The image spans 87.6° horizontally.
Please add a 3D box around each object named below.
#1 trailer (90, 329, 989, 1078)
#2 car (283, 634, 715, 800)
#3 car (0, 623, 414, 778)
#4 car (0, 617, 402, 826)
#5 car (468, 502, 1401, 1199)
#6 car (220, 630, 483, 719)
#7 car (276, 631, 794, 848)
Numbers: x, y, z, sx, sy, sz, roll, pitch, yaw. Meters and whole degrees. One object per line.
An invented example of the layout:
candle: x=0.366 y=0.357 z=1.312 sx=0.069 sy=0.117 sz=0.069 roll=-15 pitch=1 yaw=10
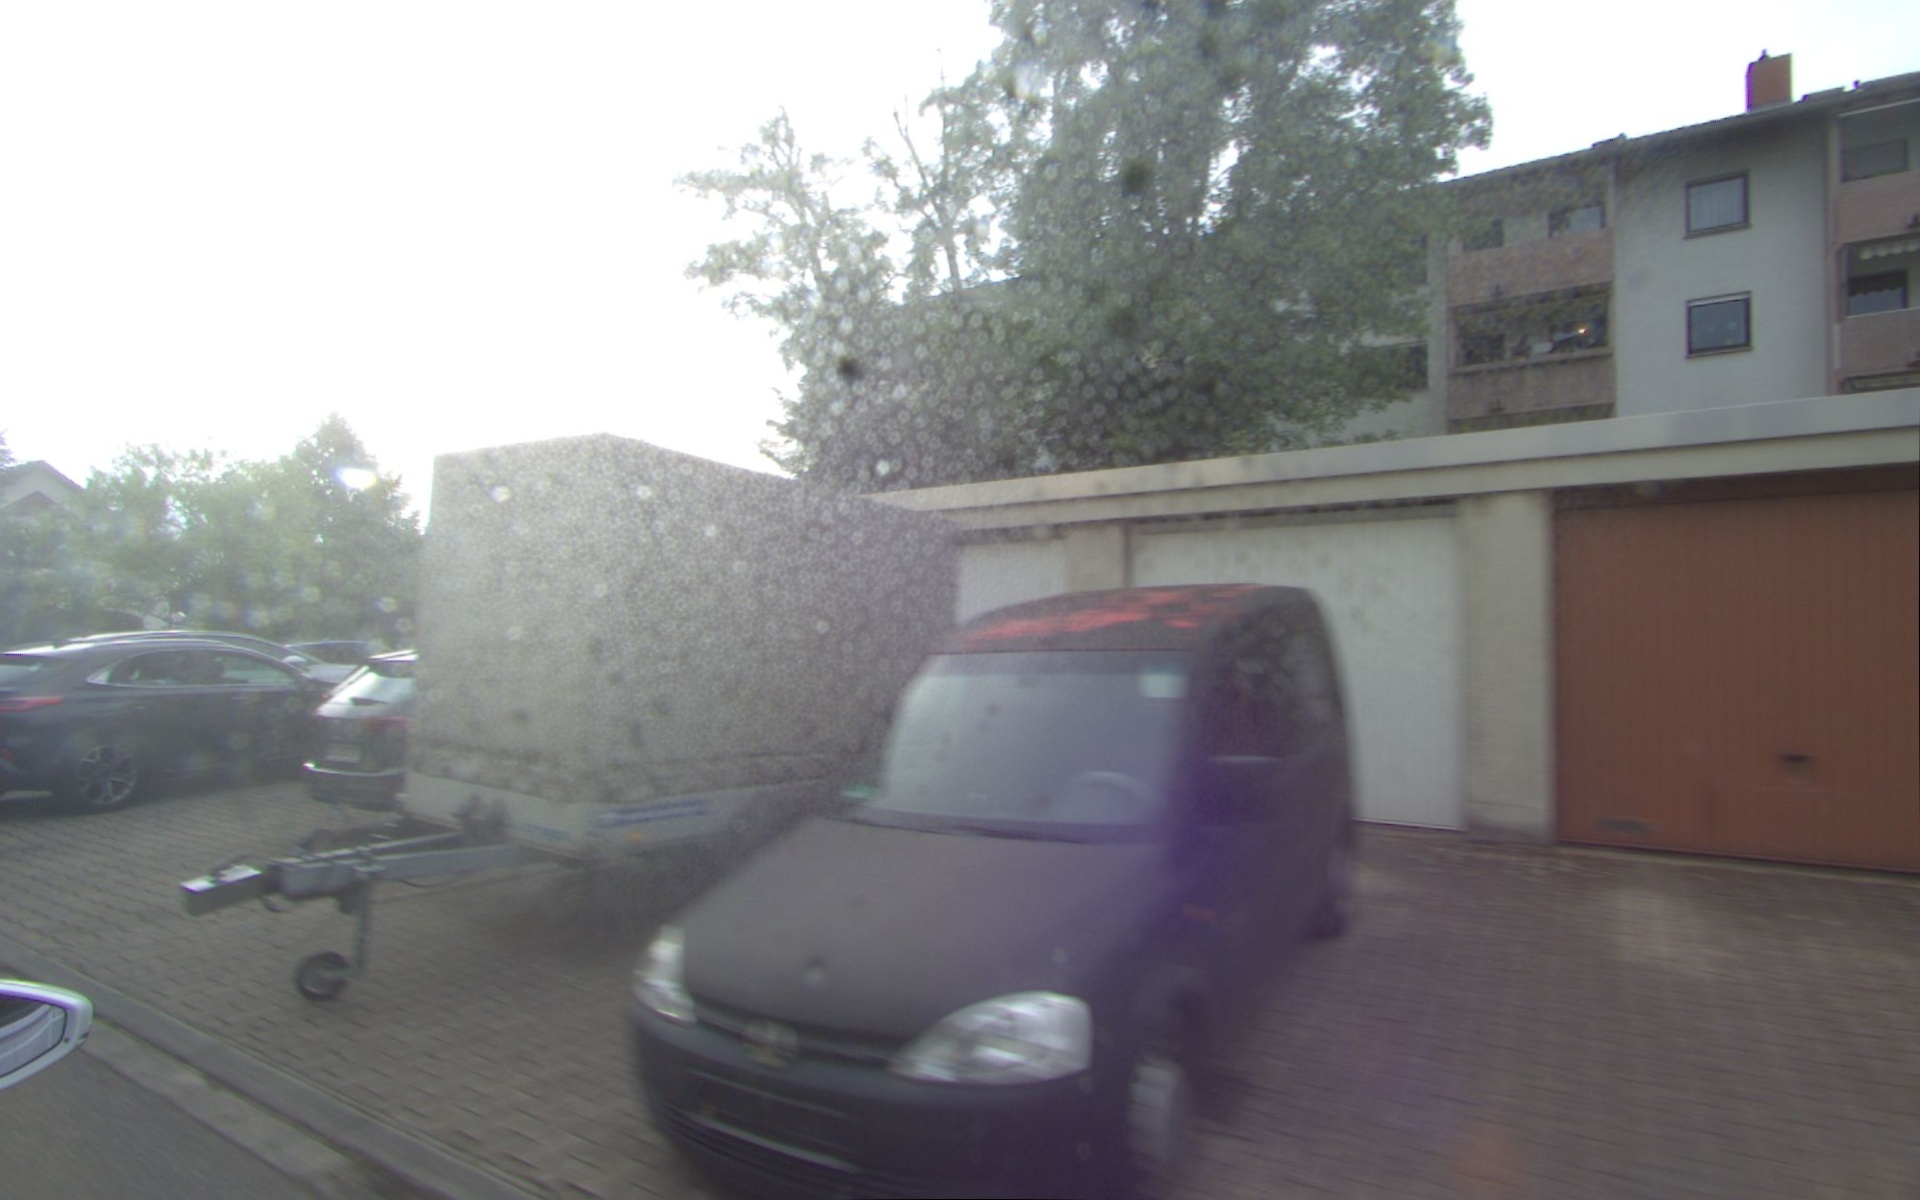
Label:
trailer: x=-1.829 y=0.451 z=5.896 sx=1.915 sy=2.557 sz=4.602 roll=-1 pitch=-2 yaw=33
car: x=-4.892 y=1.118 z=11.144 sx=1.890 sy=1.467 sz=3.985 roll=-1 pitch=-2 yaw=35
car: x=-9.675 y=1.112 z=12.618 sx=1.961 sy=1.609 sz=4.527 roll=-1 pitch=-2 yaw=34
car: x=-7.960 y=0.995 z=9.987 sx=1.963 sy=1.572 sz=3.995 roll=-1 pitch=0 yaw=14
car: x=0.505 y=0.724 z=4.291 sx=1.971 sy=1.826 sz=4.302 roll=-1 pitch=0 yaw=32
car: x=-11.644 y=1.353 z=19.397 sx=1.999 sy=1.530 sz=3.891 roll=-1 pitch=-2 yaw=32
car: x=-3.450 y=1.009 z=8.952 sx=1.589 sy=1.467 sz=4.121 roll=-1 pitch=-2 yaw=32
